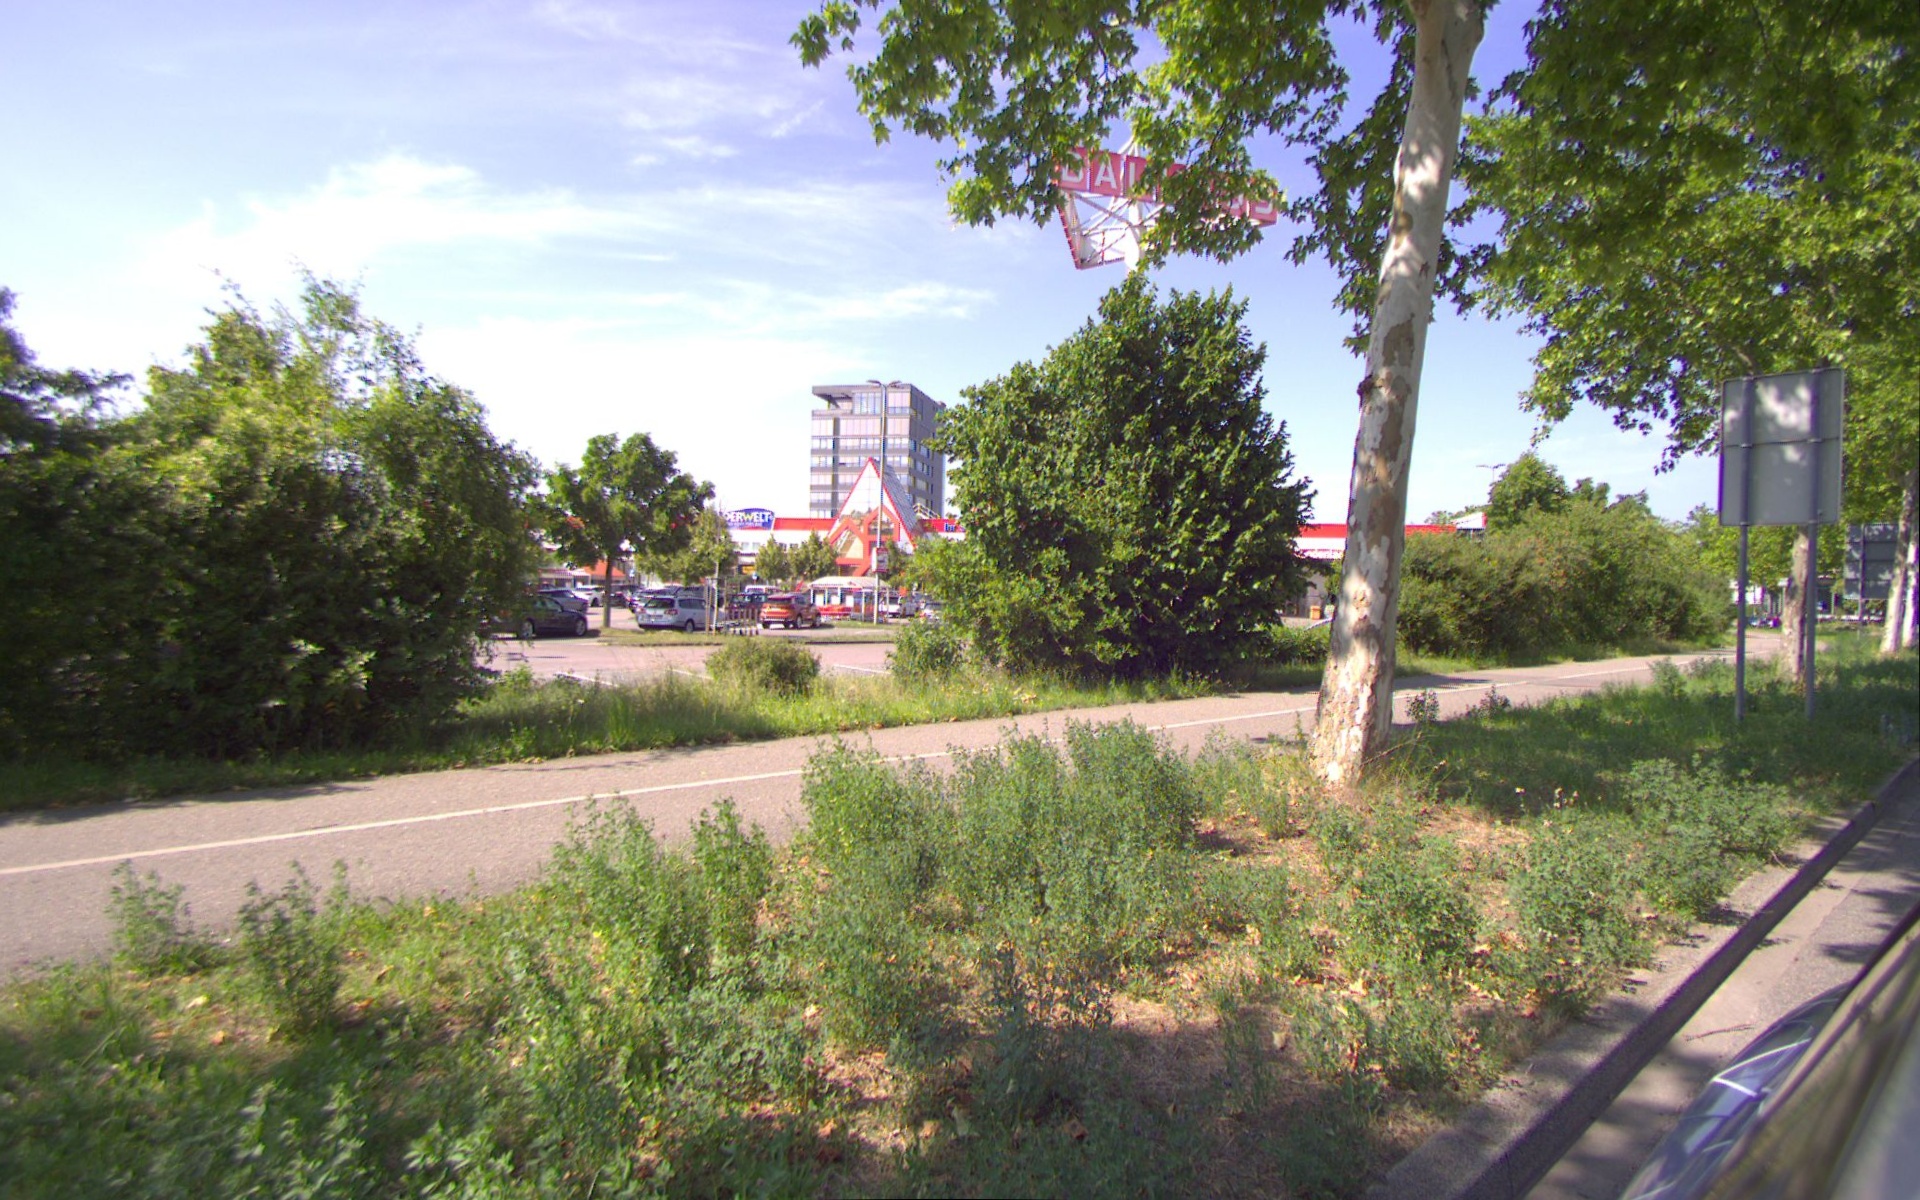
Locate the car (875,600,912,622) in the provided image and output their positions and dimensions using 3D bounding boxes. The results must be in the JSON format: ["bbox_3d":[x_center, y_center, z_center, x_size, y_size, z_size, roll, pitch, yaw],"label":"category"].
[{"bbox_3d":[-4.262,0.683,65.388,1.545,1.397,3.606,0,0,11],"label":"car"}]

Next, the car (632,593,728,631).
[{"bbox_3d":[-10.394,0.489,37.854,1.759,1.289,3.806,0,-2,15],"label":"car"}]

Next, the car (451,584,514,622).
[{"bbox_3d":[-28.237,0.159,59.943,1.534,2.191,3.540,0,0,11],"label":"car"}]

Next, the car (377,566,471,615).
[{"bbox_3d":[-32.841,-0.583,62.225,2.270,2.889,5.266,0,0,11],"label":"car"}]

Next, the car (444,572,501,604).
[{"bbox_3d":[-35.437,-0.826,73.685,1.973,2.256,3.567,0,0,11],"label":"car"}]

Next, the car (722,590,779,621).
[{"bbox_3d":[-11.381,0.285,55.283,1.745,1.625,3.732,0,0,11],"label":"car"}]

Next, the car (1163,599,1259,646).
[{"bbox_3d":[8.847,0.756,35.812,1.175,1.473,3.156,0,1,-43],"label":"car"}]

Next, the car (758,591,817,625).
[{"bbox_3d":[-8.178,0.378,48.367,1.654,1.565,3.778,0,0,9],"label":"car"}]

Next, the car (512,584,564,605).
[{"bbox_3d":[-30.224,-0.412,72.663,1.507,1.455,3.847,0,0,13],"label":"car"}]

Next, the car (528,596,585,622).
[{"bbox_3d":[-23.550,0.496,59.172,1.534,1.444,3.332,0,0,11],"label":"car"}]

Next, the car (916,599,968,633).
[{"bbox_3d":[-0.794,0.704,46.998,1.752,1.505,3.778,0,0,9],"label":"car"}]

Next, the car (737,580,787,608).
[{"bbox_3d":[-13.370,-0.391,68.489,1.973,1.834,4.043,0,0,11],"label":"car"}]

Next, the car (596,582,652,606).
[{"bbox_3d":[-23.325,-0.390,70.440,1.973,1.631,4.043,0,0,11],"label":"car"}]

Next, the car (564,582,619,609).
[{"bbox_3d":[-26.001,-0.305,71.559,1.861,1.868,4.043,0,0,11],"label":"car"}]

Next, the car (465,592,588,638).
[{"bbox_3d":[-13.831,0.458,32.560,1.425,1.371,3.978,1,0,17],"label":"car"}]

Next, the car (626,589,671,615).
[{"bbox_3d":[-19.013,0.116,61.876,1.473,1.527,3.495,1,0,5],"label":"car"}]
